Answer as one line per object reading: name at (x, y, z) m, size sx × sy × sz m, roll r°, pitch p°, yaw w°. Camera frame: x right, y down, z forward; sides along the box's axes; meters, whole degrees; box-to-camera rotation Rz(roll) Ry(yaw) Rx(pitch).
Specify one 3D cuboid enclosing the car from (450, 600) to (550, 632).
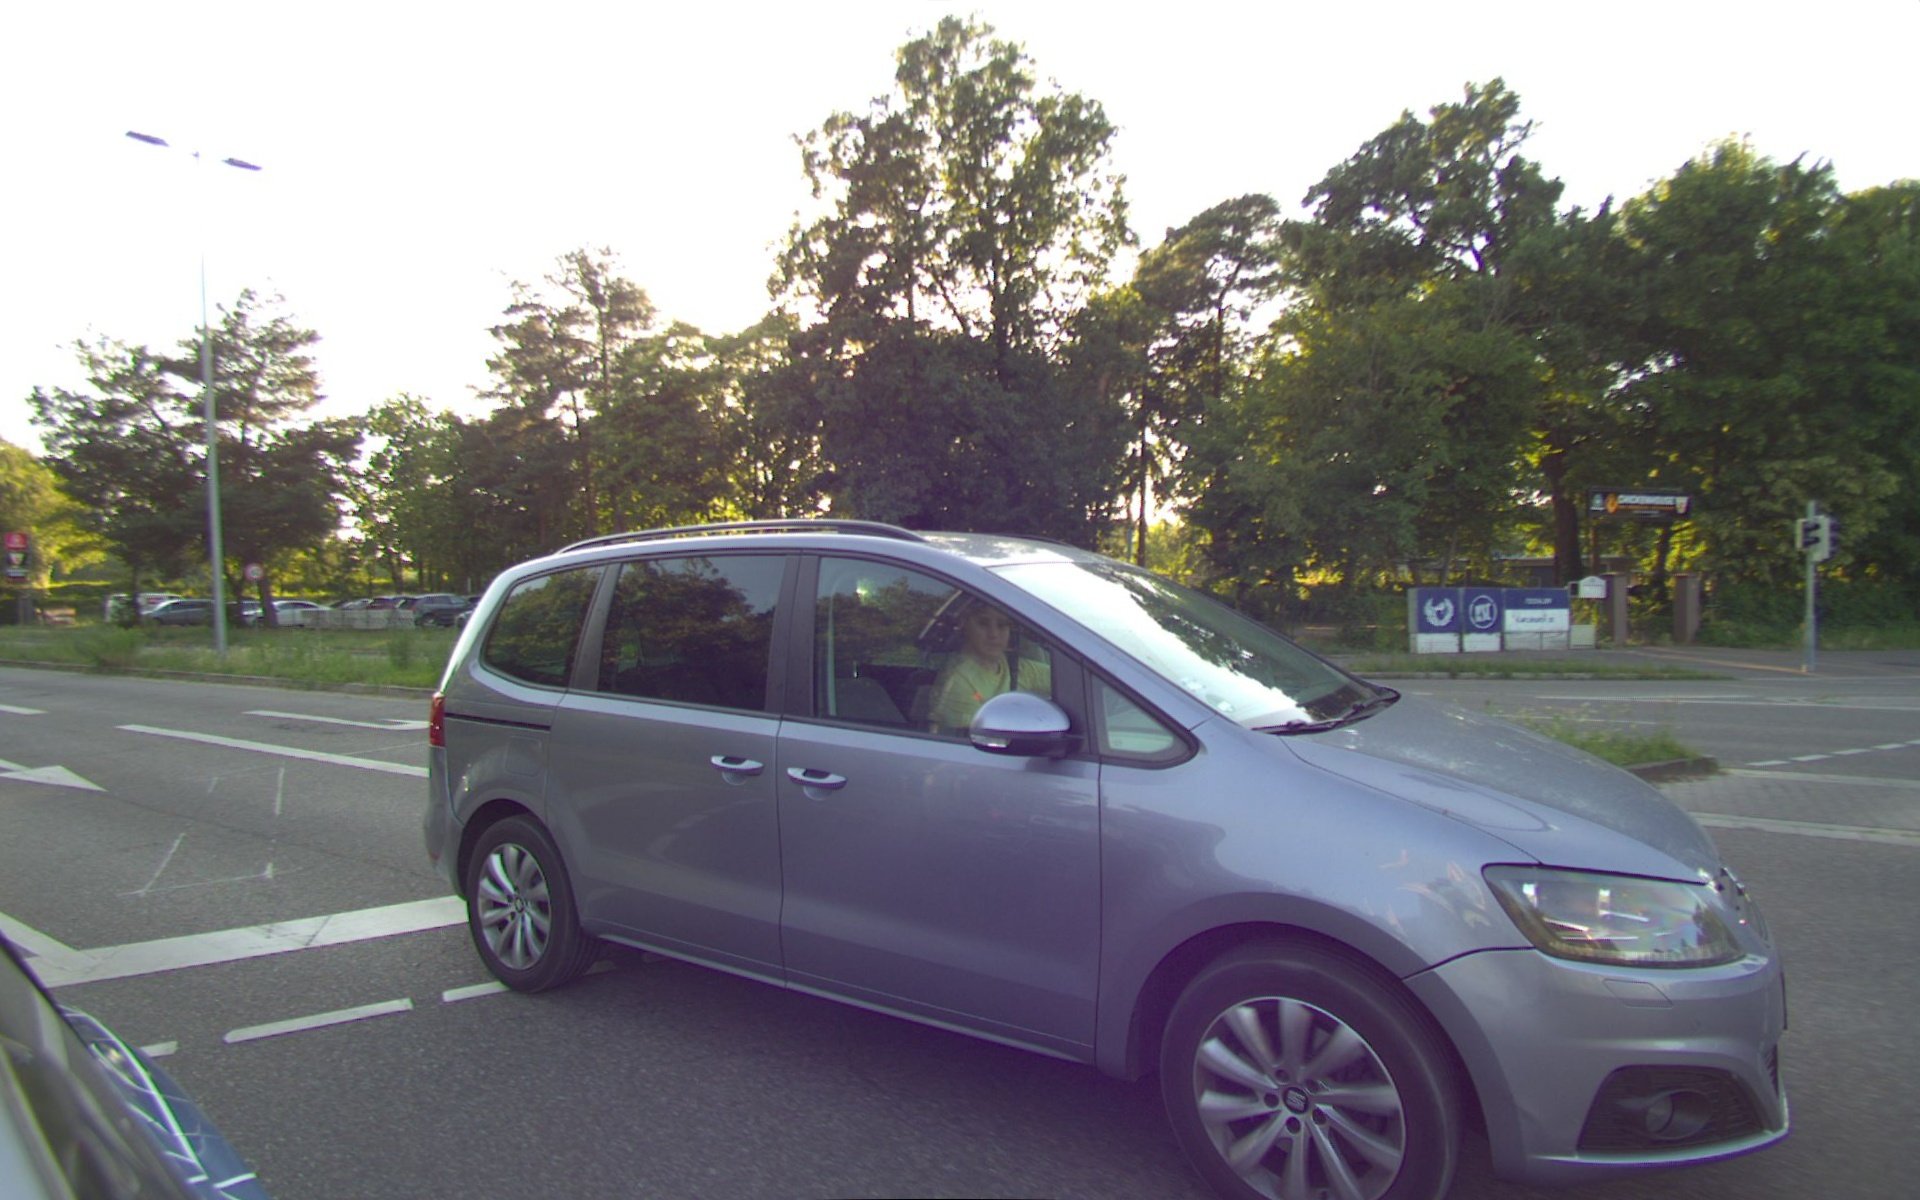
car at (-20.184, 0.680, 44.362) m, size 4.480 × 1.334 × 1.663 m, roll -1°, pitch 0°, yaw 29°

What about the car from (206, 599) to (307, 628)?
car at (-37.896, 0.698, 54.586) m, size 1.776 × 1.490 × 4.129 m, roll -1°, pitch 0°, yaw 30°

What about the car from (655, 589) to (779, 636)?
car at (-9.195, 0.460, 38.208) m, size 4.528 × 1.671 × 1.847 m, roll -1°, pitch 0°, yaw 29°

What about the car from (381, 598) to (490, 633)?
car at (-23.608, 0.683, 45.661) m, size 1.757 × 1.490 × 4.003 m, roll -1°, pitch 0°, yaw 34°

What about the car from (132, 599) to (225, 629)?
car at (-45.485, 0.787, 58.986) m, size 1.820 × 1.649 × 3.955 m, roll -1°, pitch 0°, yaw 33°

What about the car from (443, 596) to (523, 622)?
car at (-27.161, 0.525, 57.602) m, size 4.528 × 1.417 × 1.847 m, roll -1°, pitch 0°, yaw 29°

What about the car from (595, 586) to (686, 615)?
car at (-16.236, 0.038, 51.359) m, size 4.528 × 1.417 × 1.847 m, roll -1°, pitch 0°, yaw 29°

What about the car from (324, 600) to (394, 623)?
car at (-38.219, 0.710, 64.333) m, size 4.528 × 1.417 × 1.847 m, roll -1°, pitch 0°, yaw 29°

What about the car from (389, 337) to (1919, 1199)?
car at (0.143, 0.489, 3.561) m, size 4.646 × 1.737 × 1.851 m, roll -1°, pitch 0°, yaw 34°

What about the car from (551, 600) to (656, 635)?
car at (-14.517, 0.713, 41.184) m, size 3.983 × 1.342 × 1.847 m, roll -1°, pitch 0°, yaw 29°

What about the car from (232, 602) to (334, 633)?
car at (-35.419, 0.890, 53.056) m, size 1.776 × 1.490 × 4.129 m, roll -1°, pitch 0°, yaw 30°

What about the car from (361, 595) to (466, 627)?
car at (-26.049, 0.494, 48.326) m, size 1.992 × 1.464 × 3.959 m, roll 0°, pitch 0°, yaw 30°

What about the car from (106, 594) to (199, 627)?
car at (-48.200, 0.618, 60.467) m, size 1.820 × 1.879 × 3.955 m, roll -1°, pitch 0°, yaw 33°
